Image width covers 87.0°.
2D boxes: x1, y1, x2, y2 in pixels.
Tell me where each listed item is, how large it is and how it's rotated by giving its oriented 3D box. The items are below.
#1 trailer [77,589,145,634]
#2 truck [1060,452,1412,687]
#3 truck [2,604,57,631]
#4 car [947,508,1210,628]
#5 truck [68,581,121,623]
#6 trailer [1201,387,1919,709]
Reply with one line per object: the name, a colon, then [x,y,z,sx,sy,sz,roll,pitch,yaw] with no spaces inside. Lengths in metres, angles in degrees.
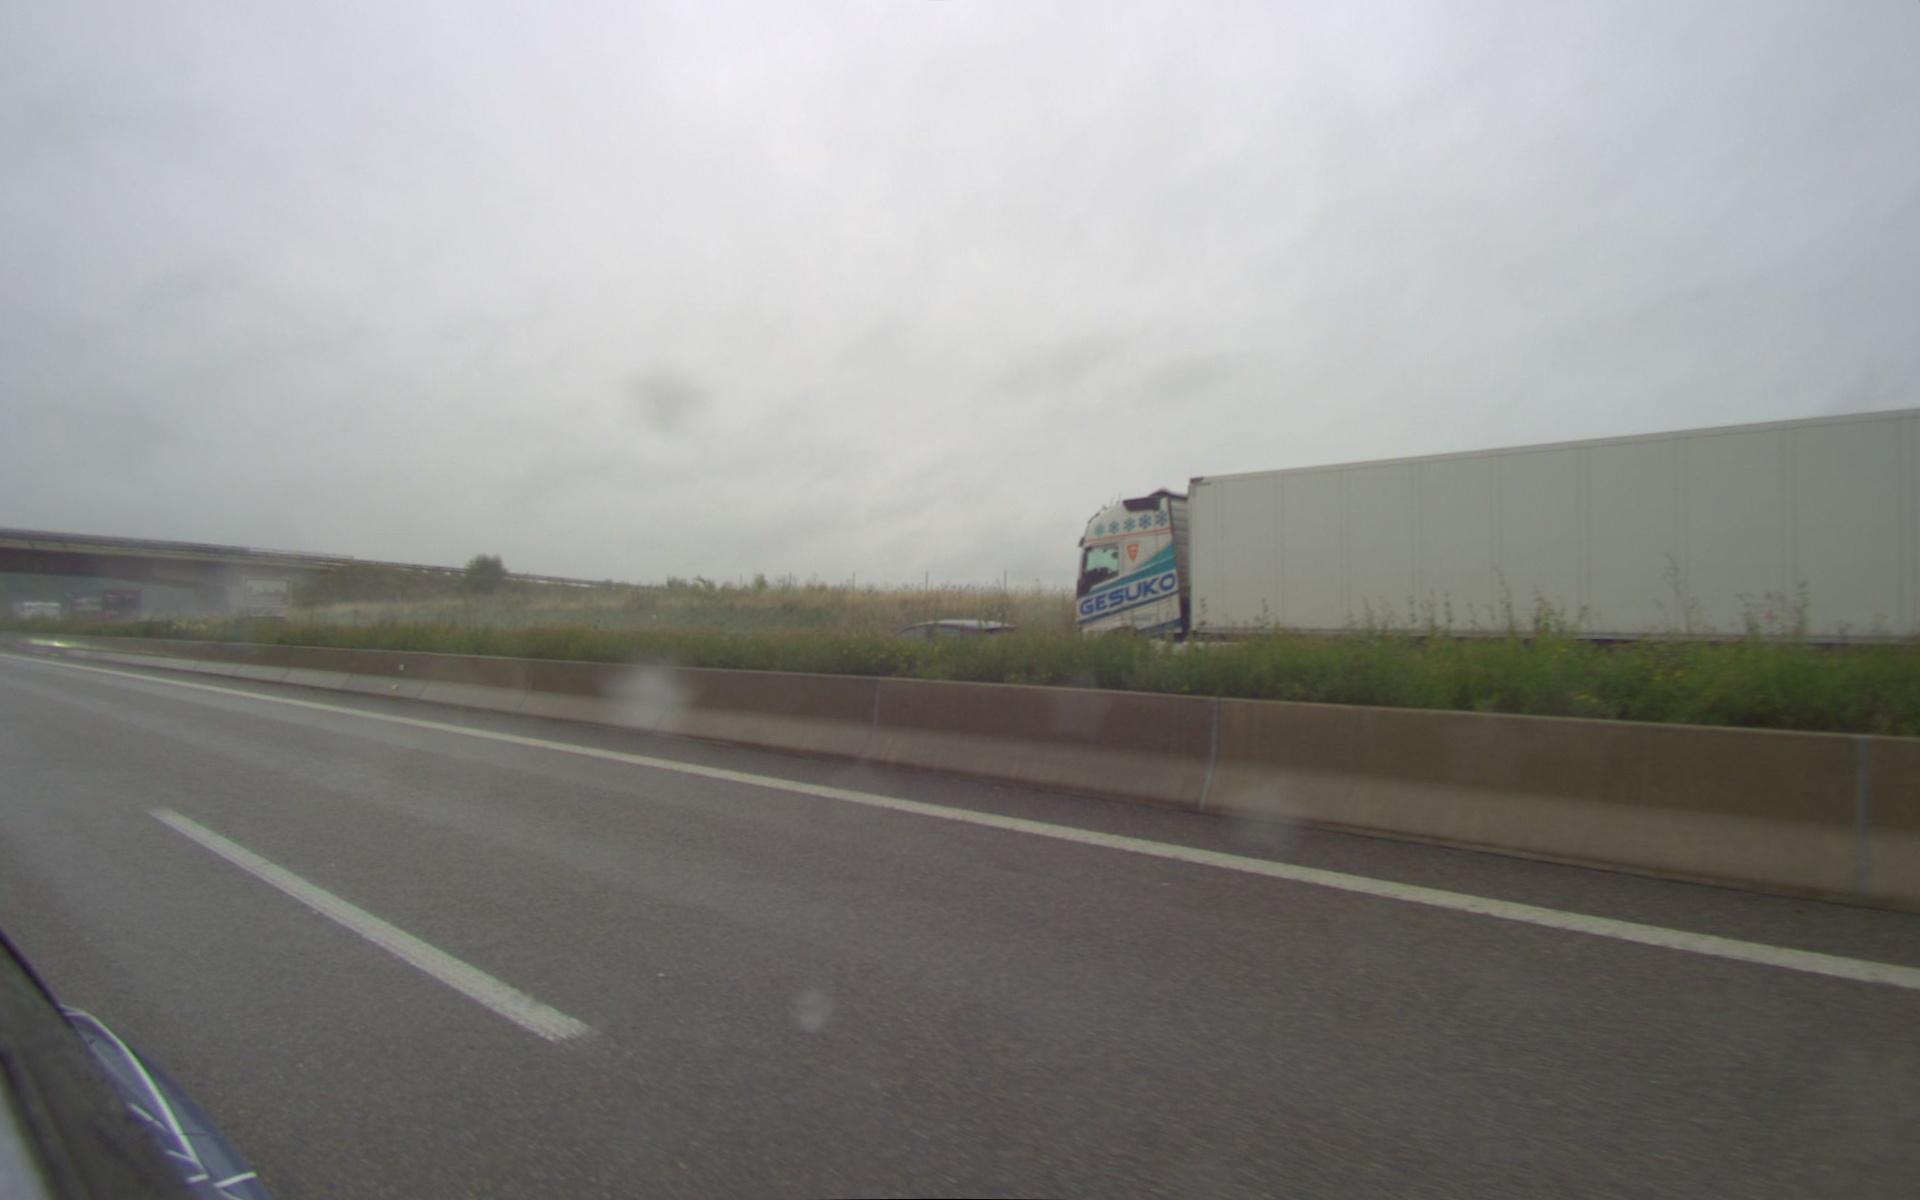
trailer: [-73.332,0.925,87.284,11.143,3.648,2.735,0,0,41]
truck: [5.414,-0.476,20.503,6.215,4.024,2.922,-1,-1,42]
truck: [-78.595,1.432,85.437,7.419,2.171,2.450,0,1,40]
car: [1.445,-0.334,12.911,3.119,1.355,1.337,-1,-1,40]
truck: [-78.180,0.169,91.385,5.734,3.635,2.751,0,0,40]
trailer: [10.886,-0.601,15.574,14.301,4.012,2.913,-1,-1,42]
